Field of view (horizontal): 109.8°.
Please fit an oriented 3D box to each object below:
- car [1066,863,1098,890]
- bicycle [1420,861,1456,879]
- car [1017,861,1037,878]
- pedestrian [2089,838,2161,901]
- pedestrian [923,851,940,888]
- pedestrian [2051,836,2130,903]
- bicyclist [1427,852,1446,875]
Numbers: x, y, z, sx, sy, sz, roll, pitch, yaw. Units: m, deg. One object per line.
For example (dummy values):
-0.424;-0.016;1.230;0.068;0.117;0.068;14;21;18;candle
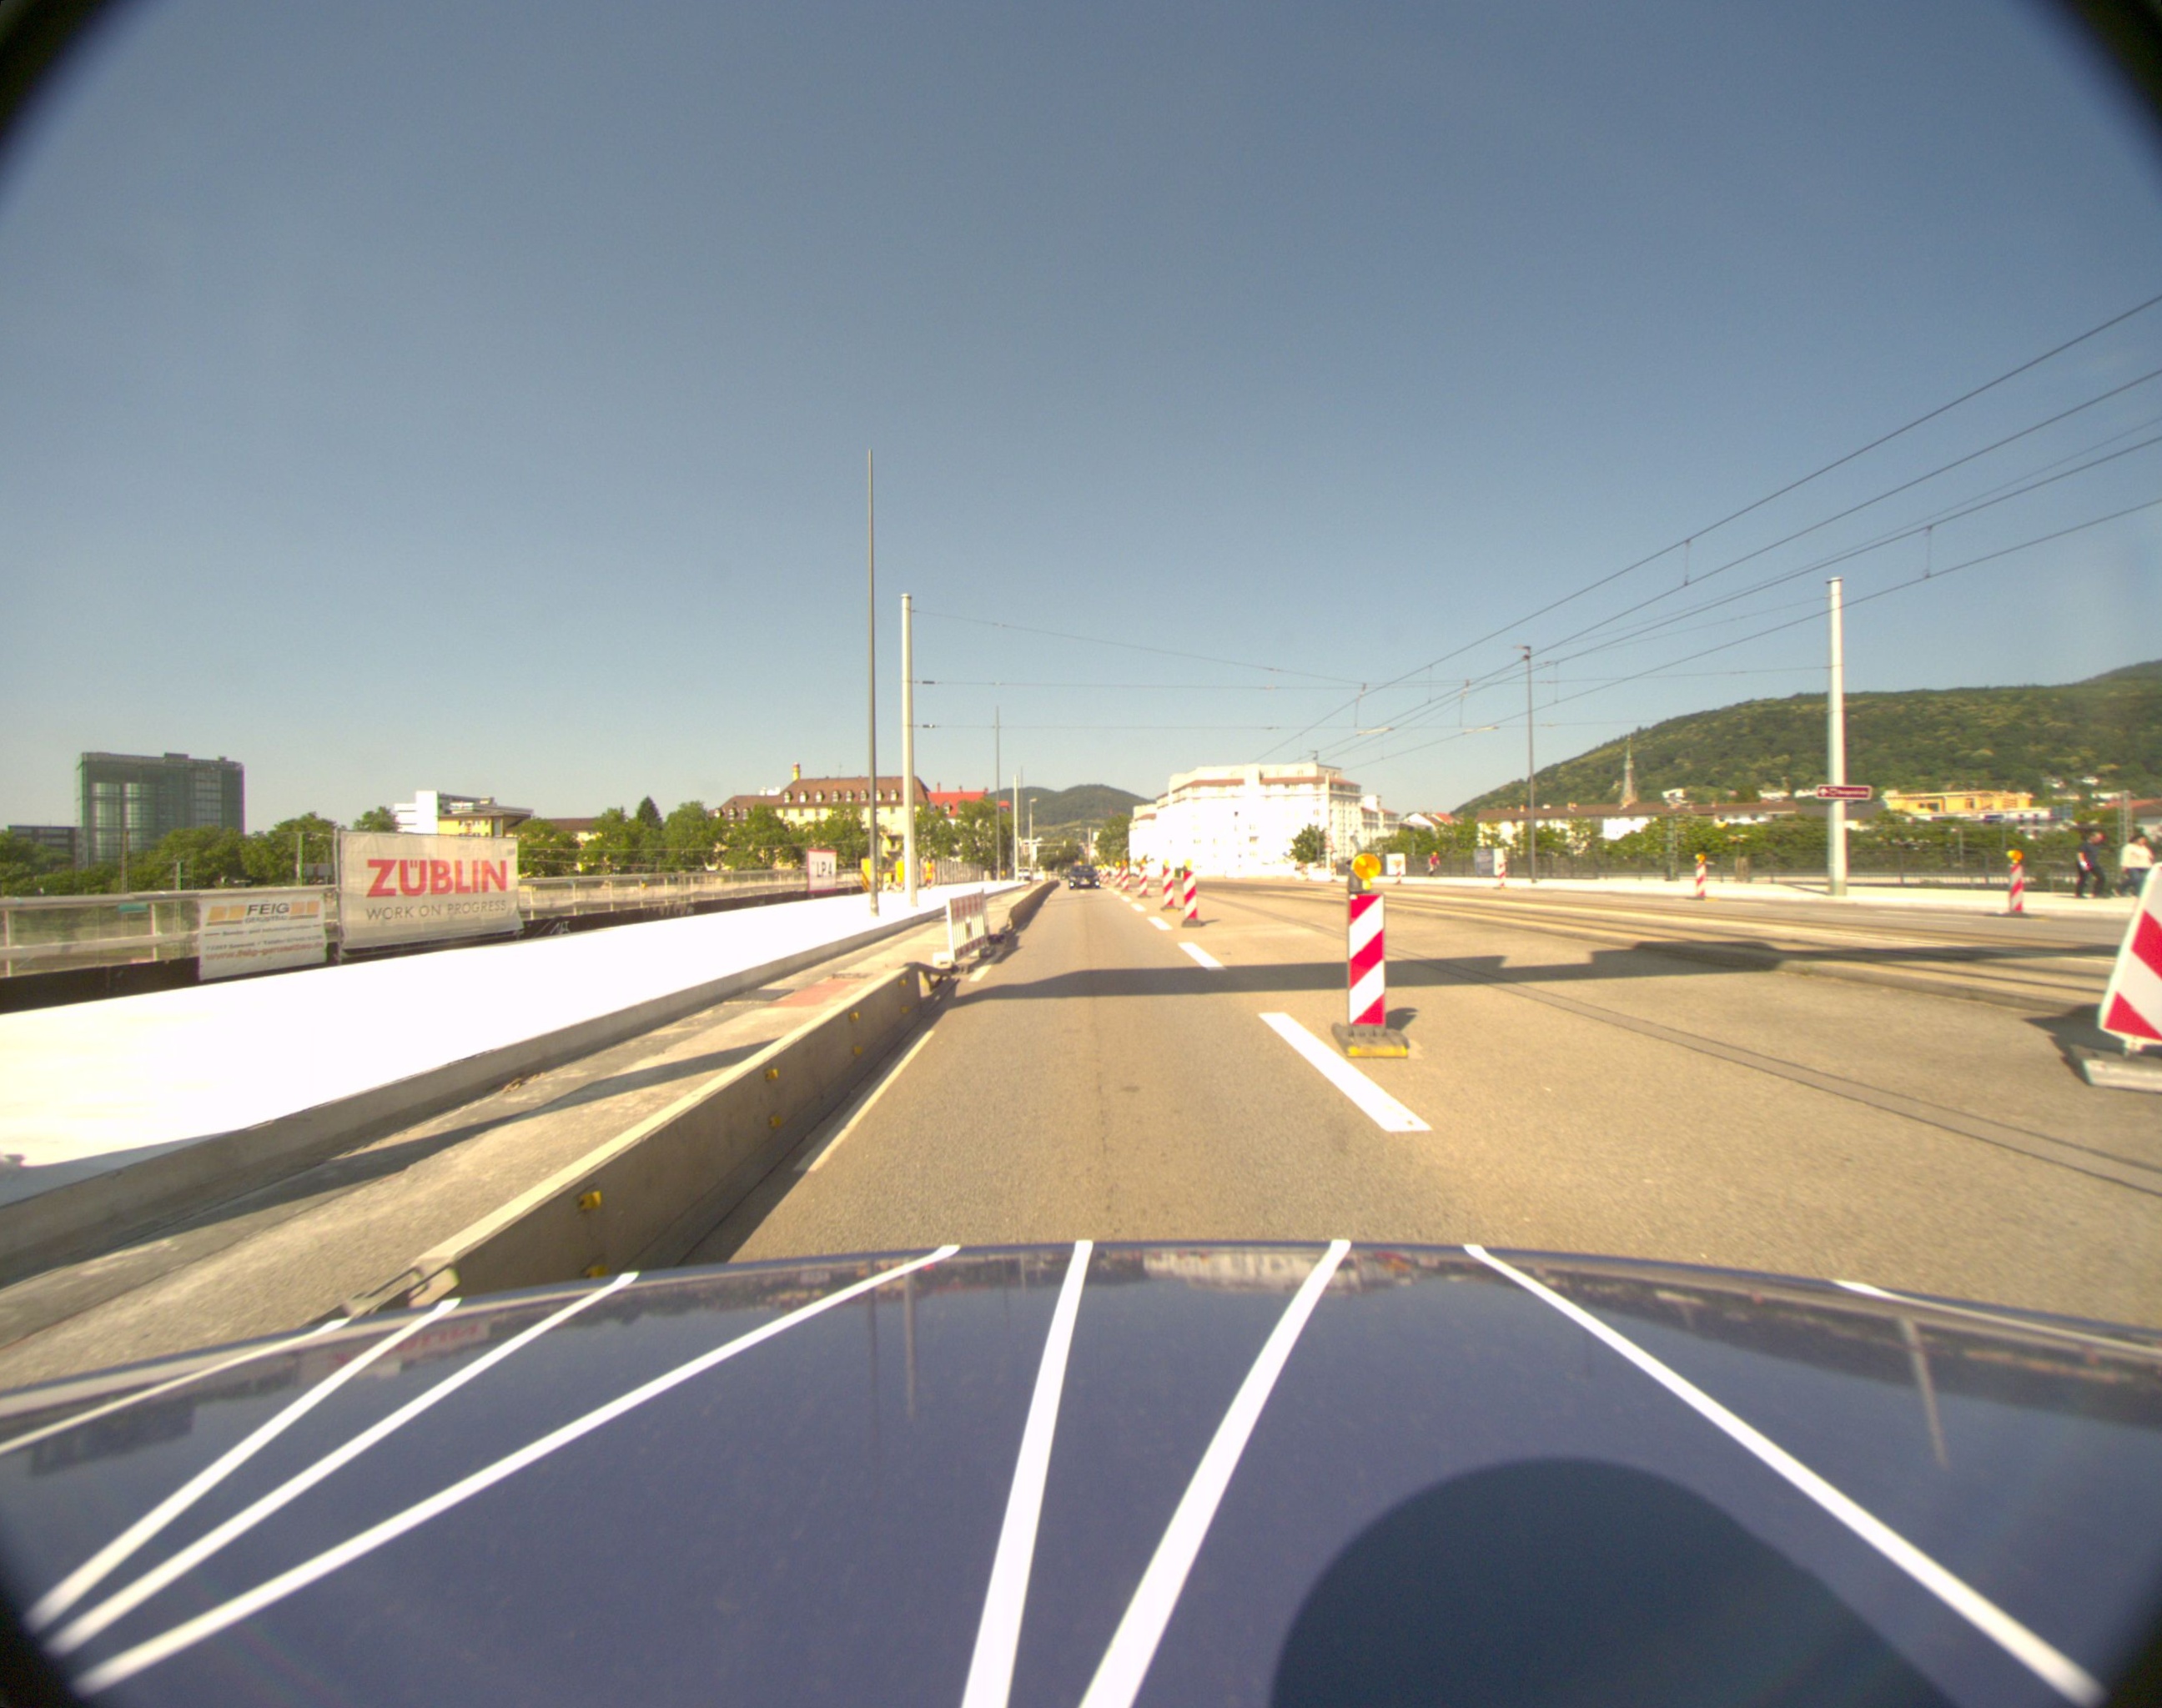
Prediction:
0.014;1.280;44.736;1.698;1.388;4.362;-3;0;-1;car
24.342;1.073;51.893;0.858;1.187;3.072;-2;-1;-2;bicycle
-6.847;2.063;97.574;1.938;2.077;6.472;-1;-2;1;car
26.767;0.397;19.438;0.721;1.535;0.889;-3;0;-1;pedestrian
-7.882;0.817;40.096;0.733;1.953;1.016;0;0;-1;pedestrian
25.860;0.396;19.480;0.745;1.632;0.895;-3;0;-1;pedestrian
24.327;0.640;51.936;0.858;1.510;0.817;-2;0;-2;bicyclist
